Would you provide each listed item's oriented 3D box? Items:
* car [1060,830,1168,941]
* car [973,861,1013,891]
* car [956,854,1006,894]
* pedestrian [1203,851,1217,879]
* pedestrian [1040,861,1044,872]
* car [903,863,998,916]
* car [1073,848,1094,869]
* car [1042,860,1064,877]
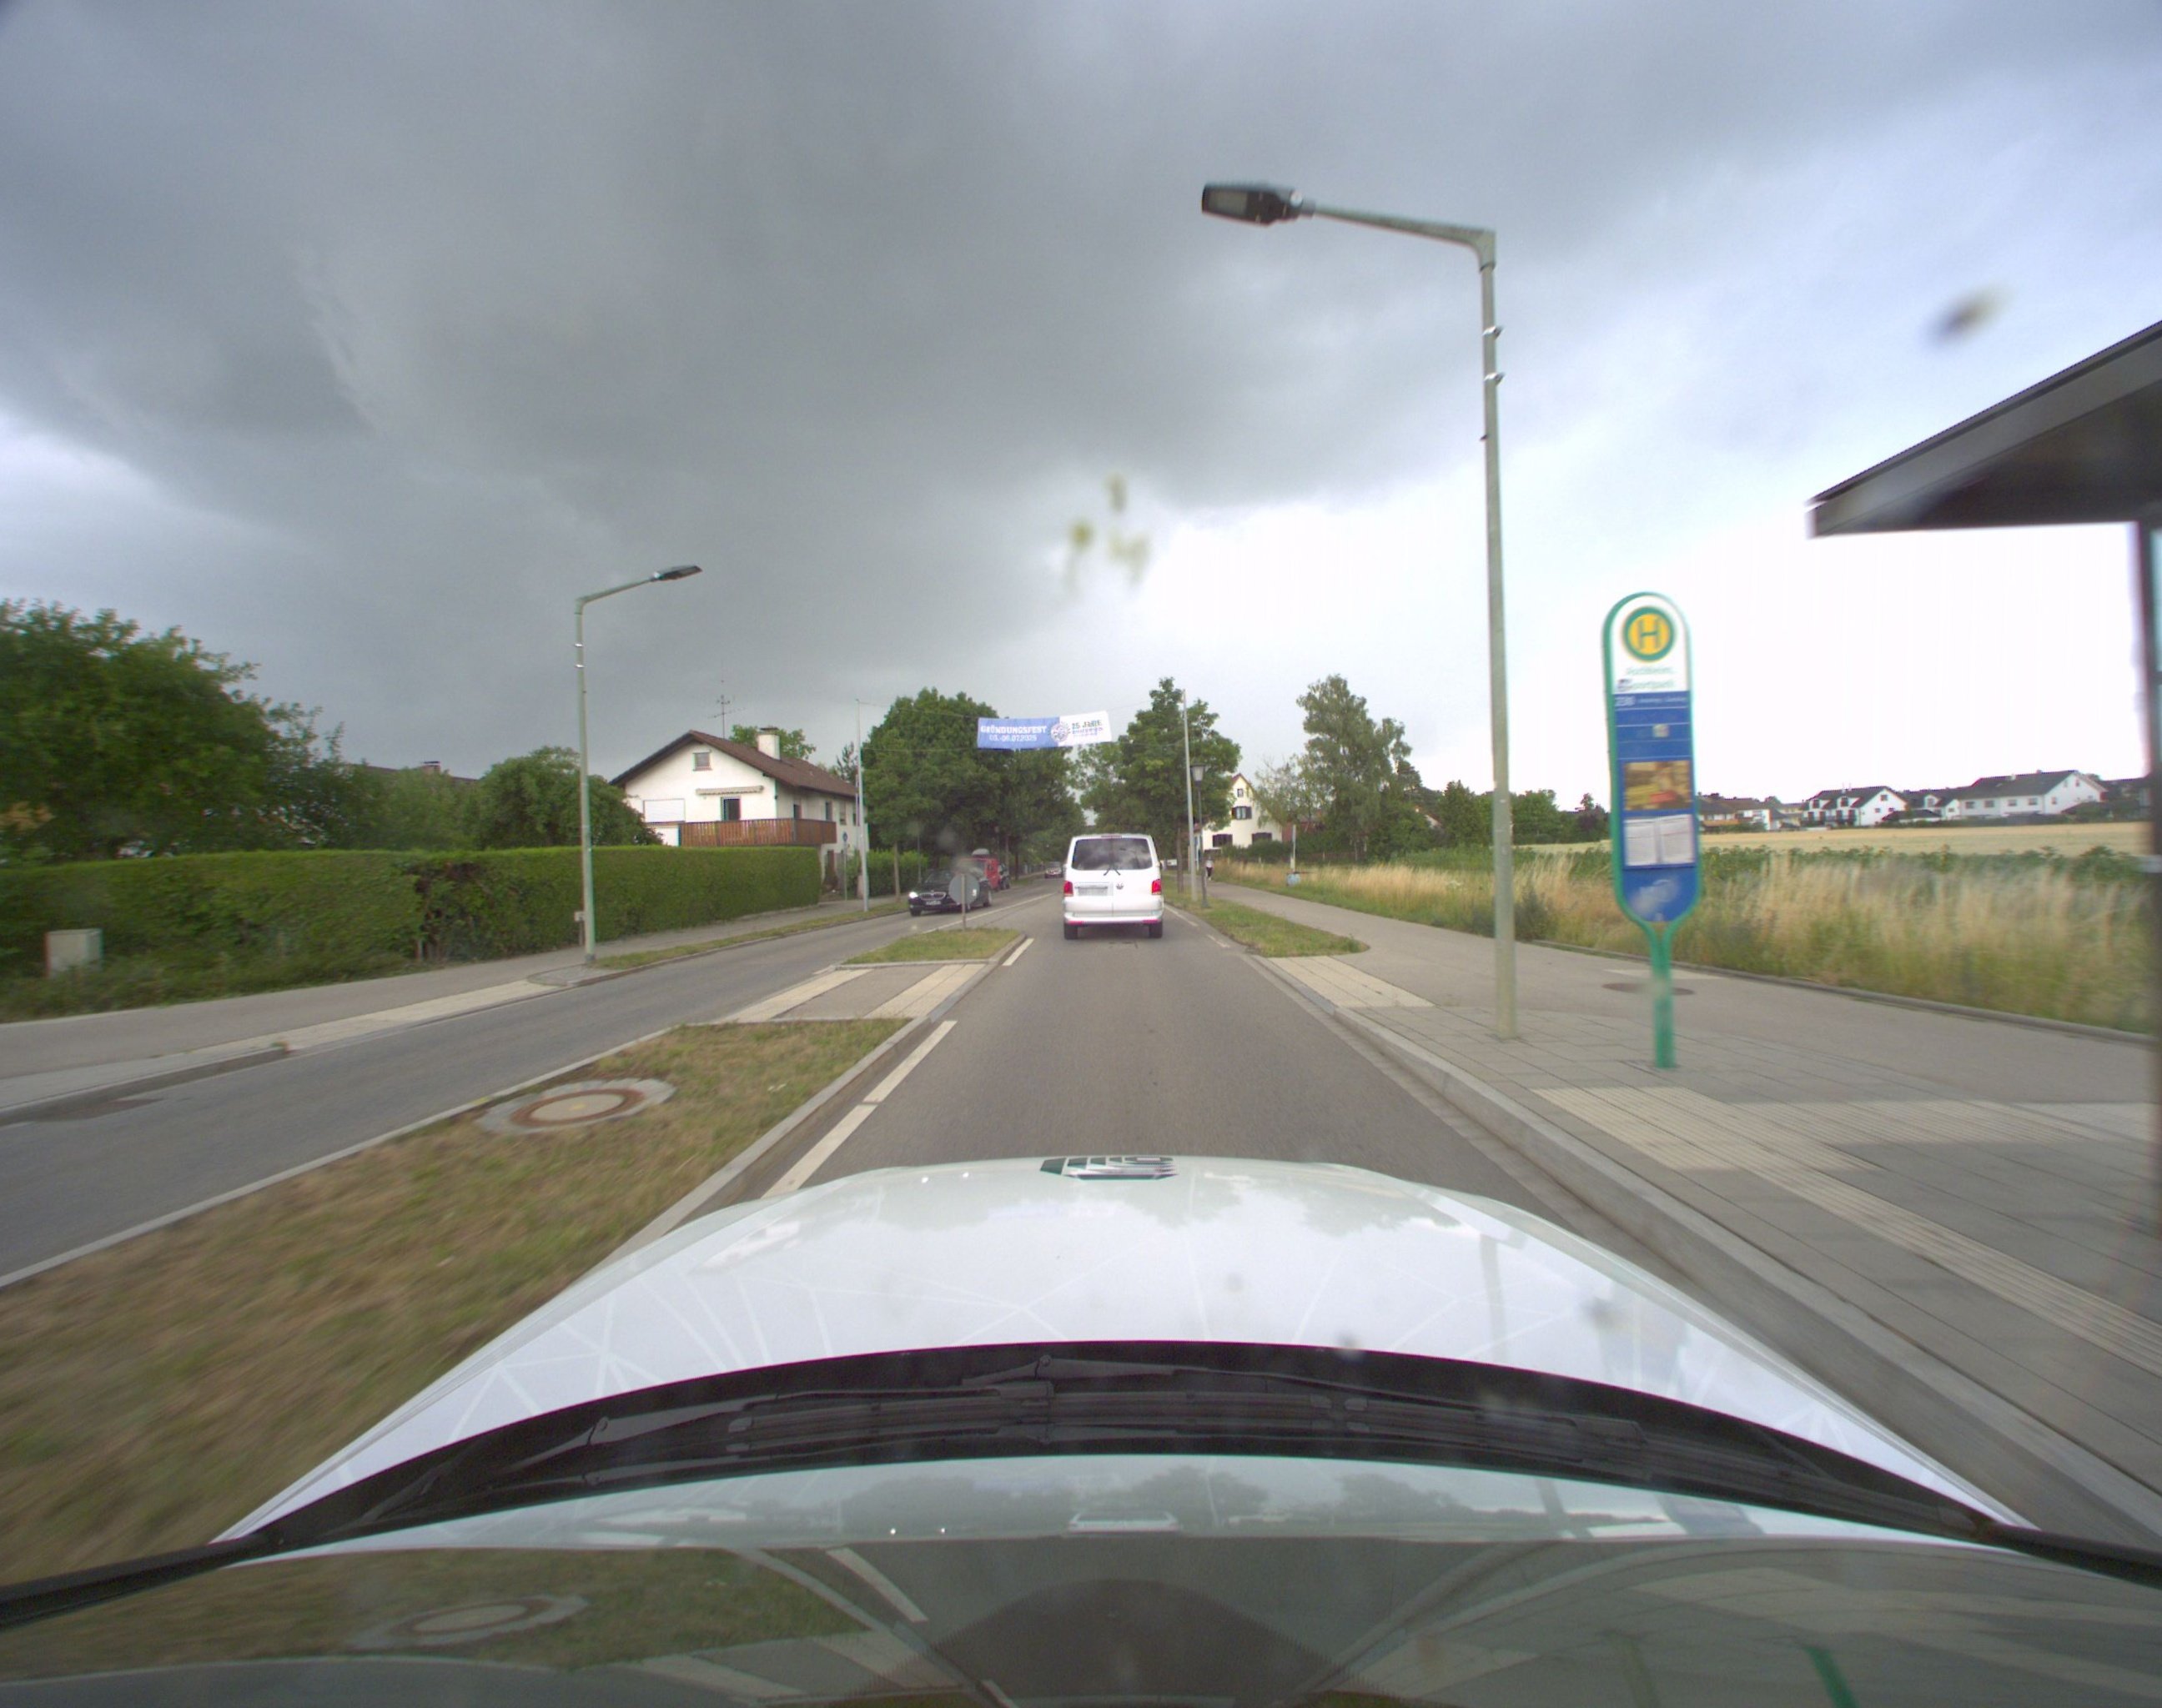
[{"bbox_3d":[0.625,0.580,16.453,1.881,1.912,4.001,-1,-1,1],"label":"car"},{"bbox_3d":[-5.205,1.270,48.641,1.765,1.598,4.240,-1,0,2],"label":"car"},{"bbox_3d":[-5.298,1.025,43.678,1.823,2.030,5.049,-1,0,2],"label":"car"},{"bbox_3d":[8.460,0.712,53.313,0.833,1.755,0.871,-2,-1,6],"label":"pedestrian"},{"bbox_3d":[-5.513,1.753,115.473,0.621,1.549,0.522,0,-1,-3],"label":"pedestrian"},{"bbox_3d":[-4.148,1.091,26.703,1.911,1.453,4.503,-2,0,6],"label":"car"},{"bbox_3d":[0.300,0.443,81.465,1.986,2.014,4.001,-1,-1,1],"label":"car"},{"bbox_3d":[-2.778,1.430,80.703,1.699,1.532,3.512,-4,0,5],"label":"car"}]
